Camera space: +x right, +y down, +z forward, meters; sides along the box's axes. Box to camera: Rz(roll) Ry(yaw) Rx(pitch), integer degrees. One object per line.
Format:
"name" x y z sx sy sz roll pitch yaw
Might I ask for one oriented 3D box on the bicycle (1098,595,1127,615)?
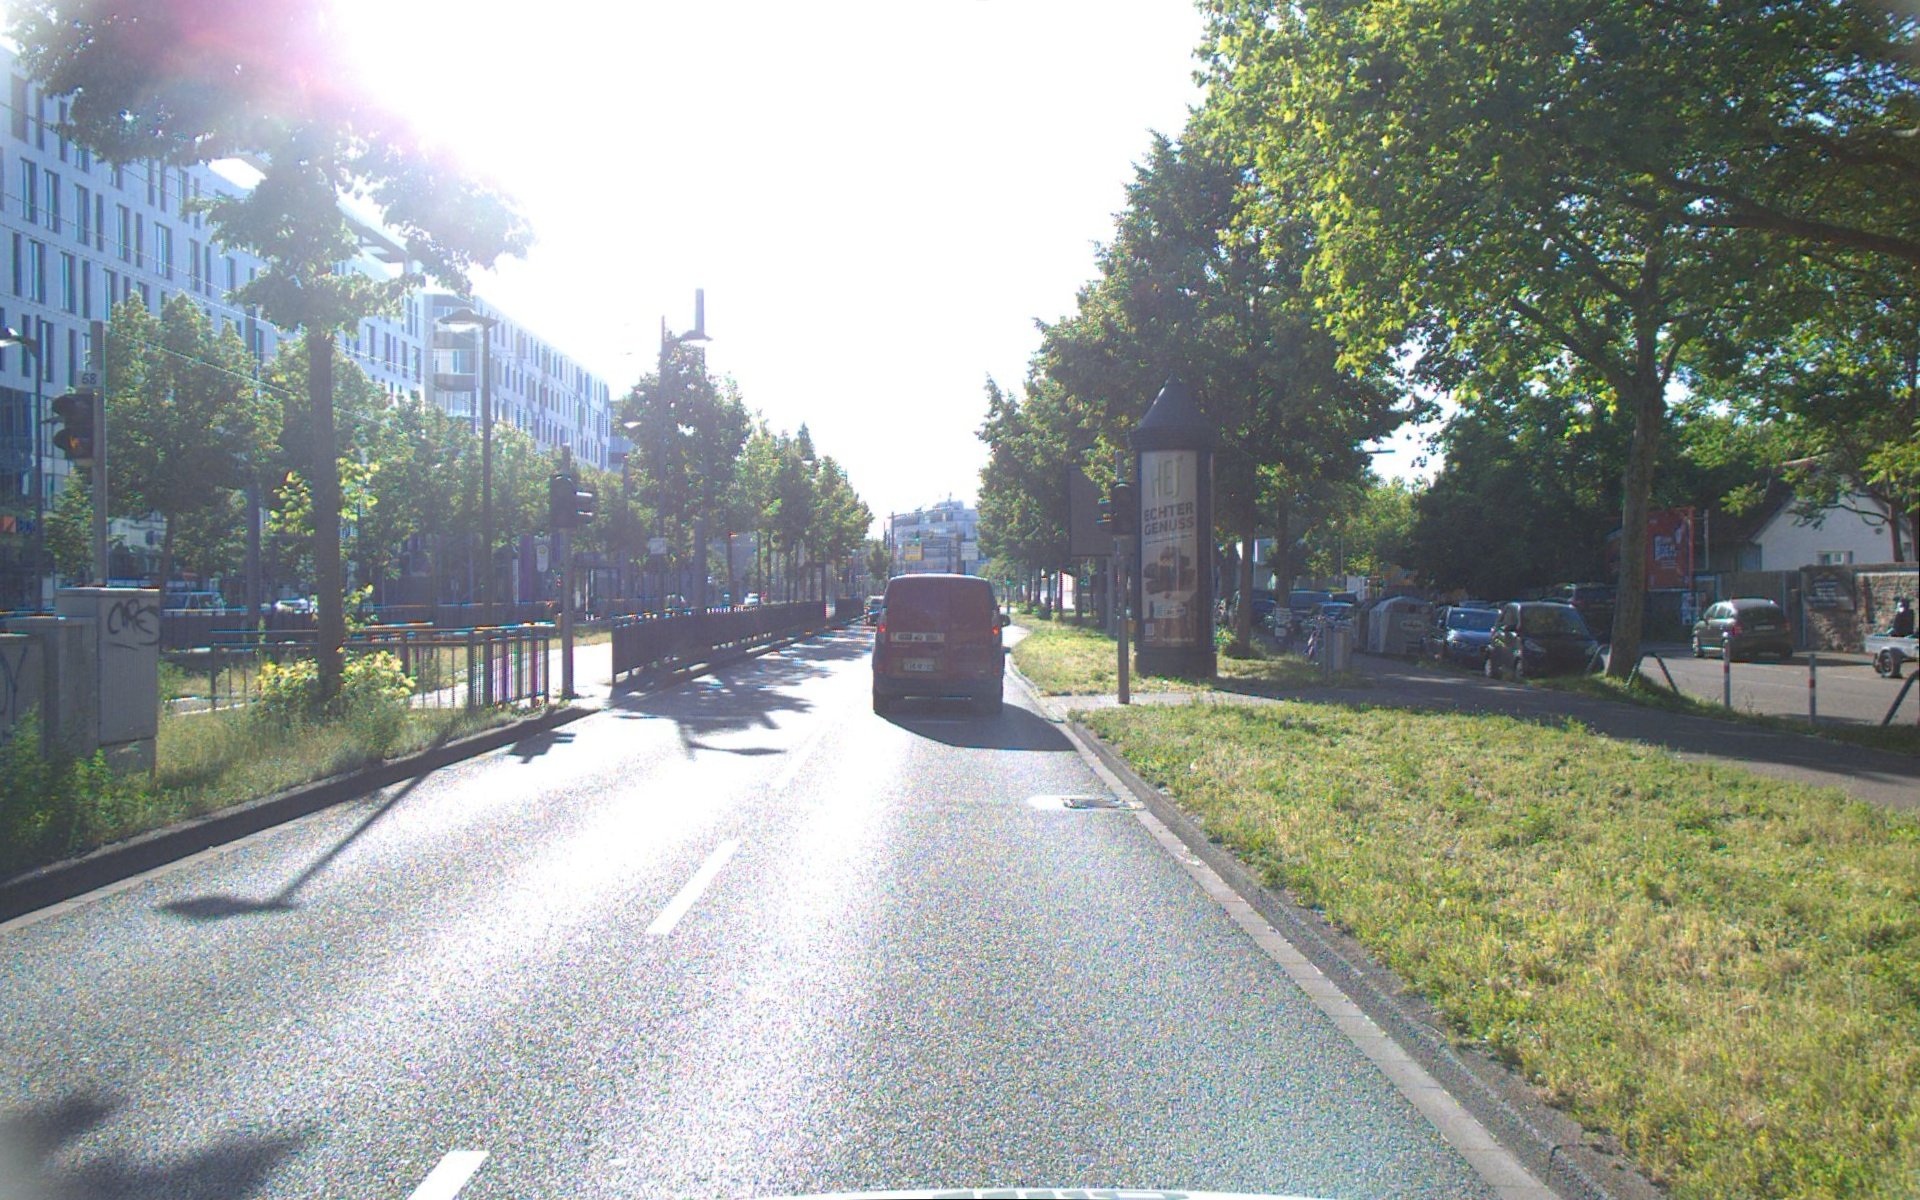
"bicycle" 10.005 0.346 108.776 1.878 1.290 0.479 0 0 0

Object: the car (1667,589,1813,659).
"car" 20.612 0.620 43.889 1.953 1.668 4.000 -3 0 0

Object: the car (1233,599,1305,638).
"car" 12.217 0.728 65.692 1.833 1.459 4.901 1 0 -1

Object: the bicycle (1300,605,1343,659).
"bicycle" 7.414 0.651 33.950 0.482 1.065 1.904 1 0 1

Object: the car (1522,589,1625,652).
"car" 21.212 0.696 57.357 1.832 2.037 4.691 -2 0 1

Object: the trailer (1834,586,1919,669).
"trailer" 20.307 0.551 35.363 1.694 1.669 3.024 -2 -1 3

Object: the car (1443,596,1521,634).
"car" 22.246 0.621 70.623 1.833 1.509 4.691 -2 0 1

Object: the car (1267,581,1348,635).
"car" 12.562 0.298 60.095 1.833 1.852 4.892 1 0 -1

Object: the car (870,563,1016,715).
"car" -0.319 0.504 22.899 1.773 1.870 3.997 1 0 -4

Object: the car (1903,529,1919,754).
"car" 9.760 0.385 12.358 2.145 2.049 5.820 1 0 1

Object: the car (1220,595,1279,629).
"car" 12.700 0.526 72.789 1.833 1.391 3.999 1 0 -1

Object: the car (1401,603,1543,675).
"car" 10.985 0.806 35.817 1.957 1.408 4.747 1 0 5

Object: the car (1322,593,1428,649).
"car" 12.351 0.615 49.536 1.833 1.551 5.055 1 0 -1

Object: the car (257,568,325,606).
"car" -38.352 -0.727 94.929 1.953 2.049 4.563 1 0 0

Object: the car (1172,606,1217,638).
"car" 13.116 1.205 92.661 1.833 1.713 3.998 -1 0 -2

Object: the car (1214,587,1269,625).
"car" 13.235 0.297 77.893 1.833 1.713 3.999 1 0 -1

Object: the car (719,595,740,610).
"car" -30.053 0.330 215.579 1.952 1.795 4.002 1 0 3

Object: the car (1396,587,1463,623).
"car" 22.067 0.248 77.966 1.832 1.574 4.691 -2 0 1

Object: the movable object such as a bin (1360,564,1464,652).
"movable object such as a bin" 11.087 0.198 40.722 2.038 2.049 2.137 1 0 3

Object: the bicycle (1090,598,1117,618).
"bicycle" 9.571 0.560 110.045 1.742 1.290 0.479 1 -1 0

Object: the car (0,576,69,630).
"car" -31.214 0.091 53.781 1.953 1.701 4.611 1 0 0

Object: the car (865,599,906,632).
"car" -3.850 0.813 86.229 1.953 1.646 3.999 1 0 -1

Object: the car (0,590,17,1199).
"car" -2.682 0.730 0.458 1.913 1.506 5.084 1 0 0

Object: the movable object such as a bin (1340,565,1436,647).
"movable object such as a bin" 11.225 0.166 43.487 2.038 2.049 2.137 1 0 3

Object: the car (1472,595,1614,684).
"car" 10.661 0.702 30.417 1.627 1.527 2.990 1 0 2

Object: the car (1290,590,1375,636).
"car" 12.279 0.426 54.726 1.833 1.413 3.999 1 0 -1
